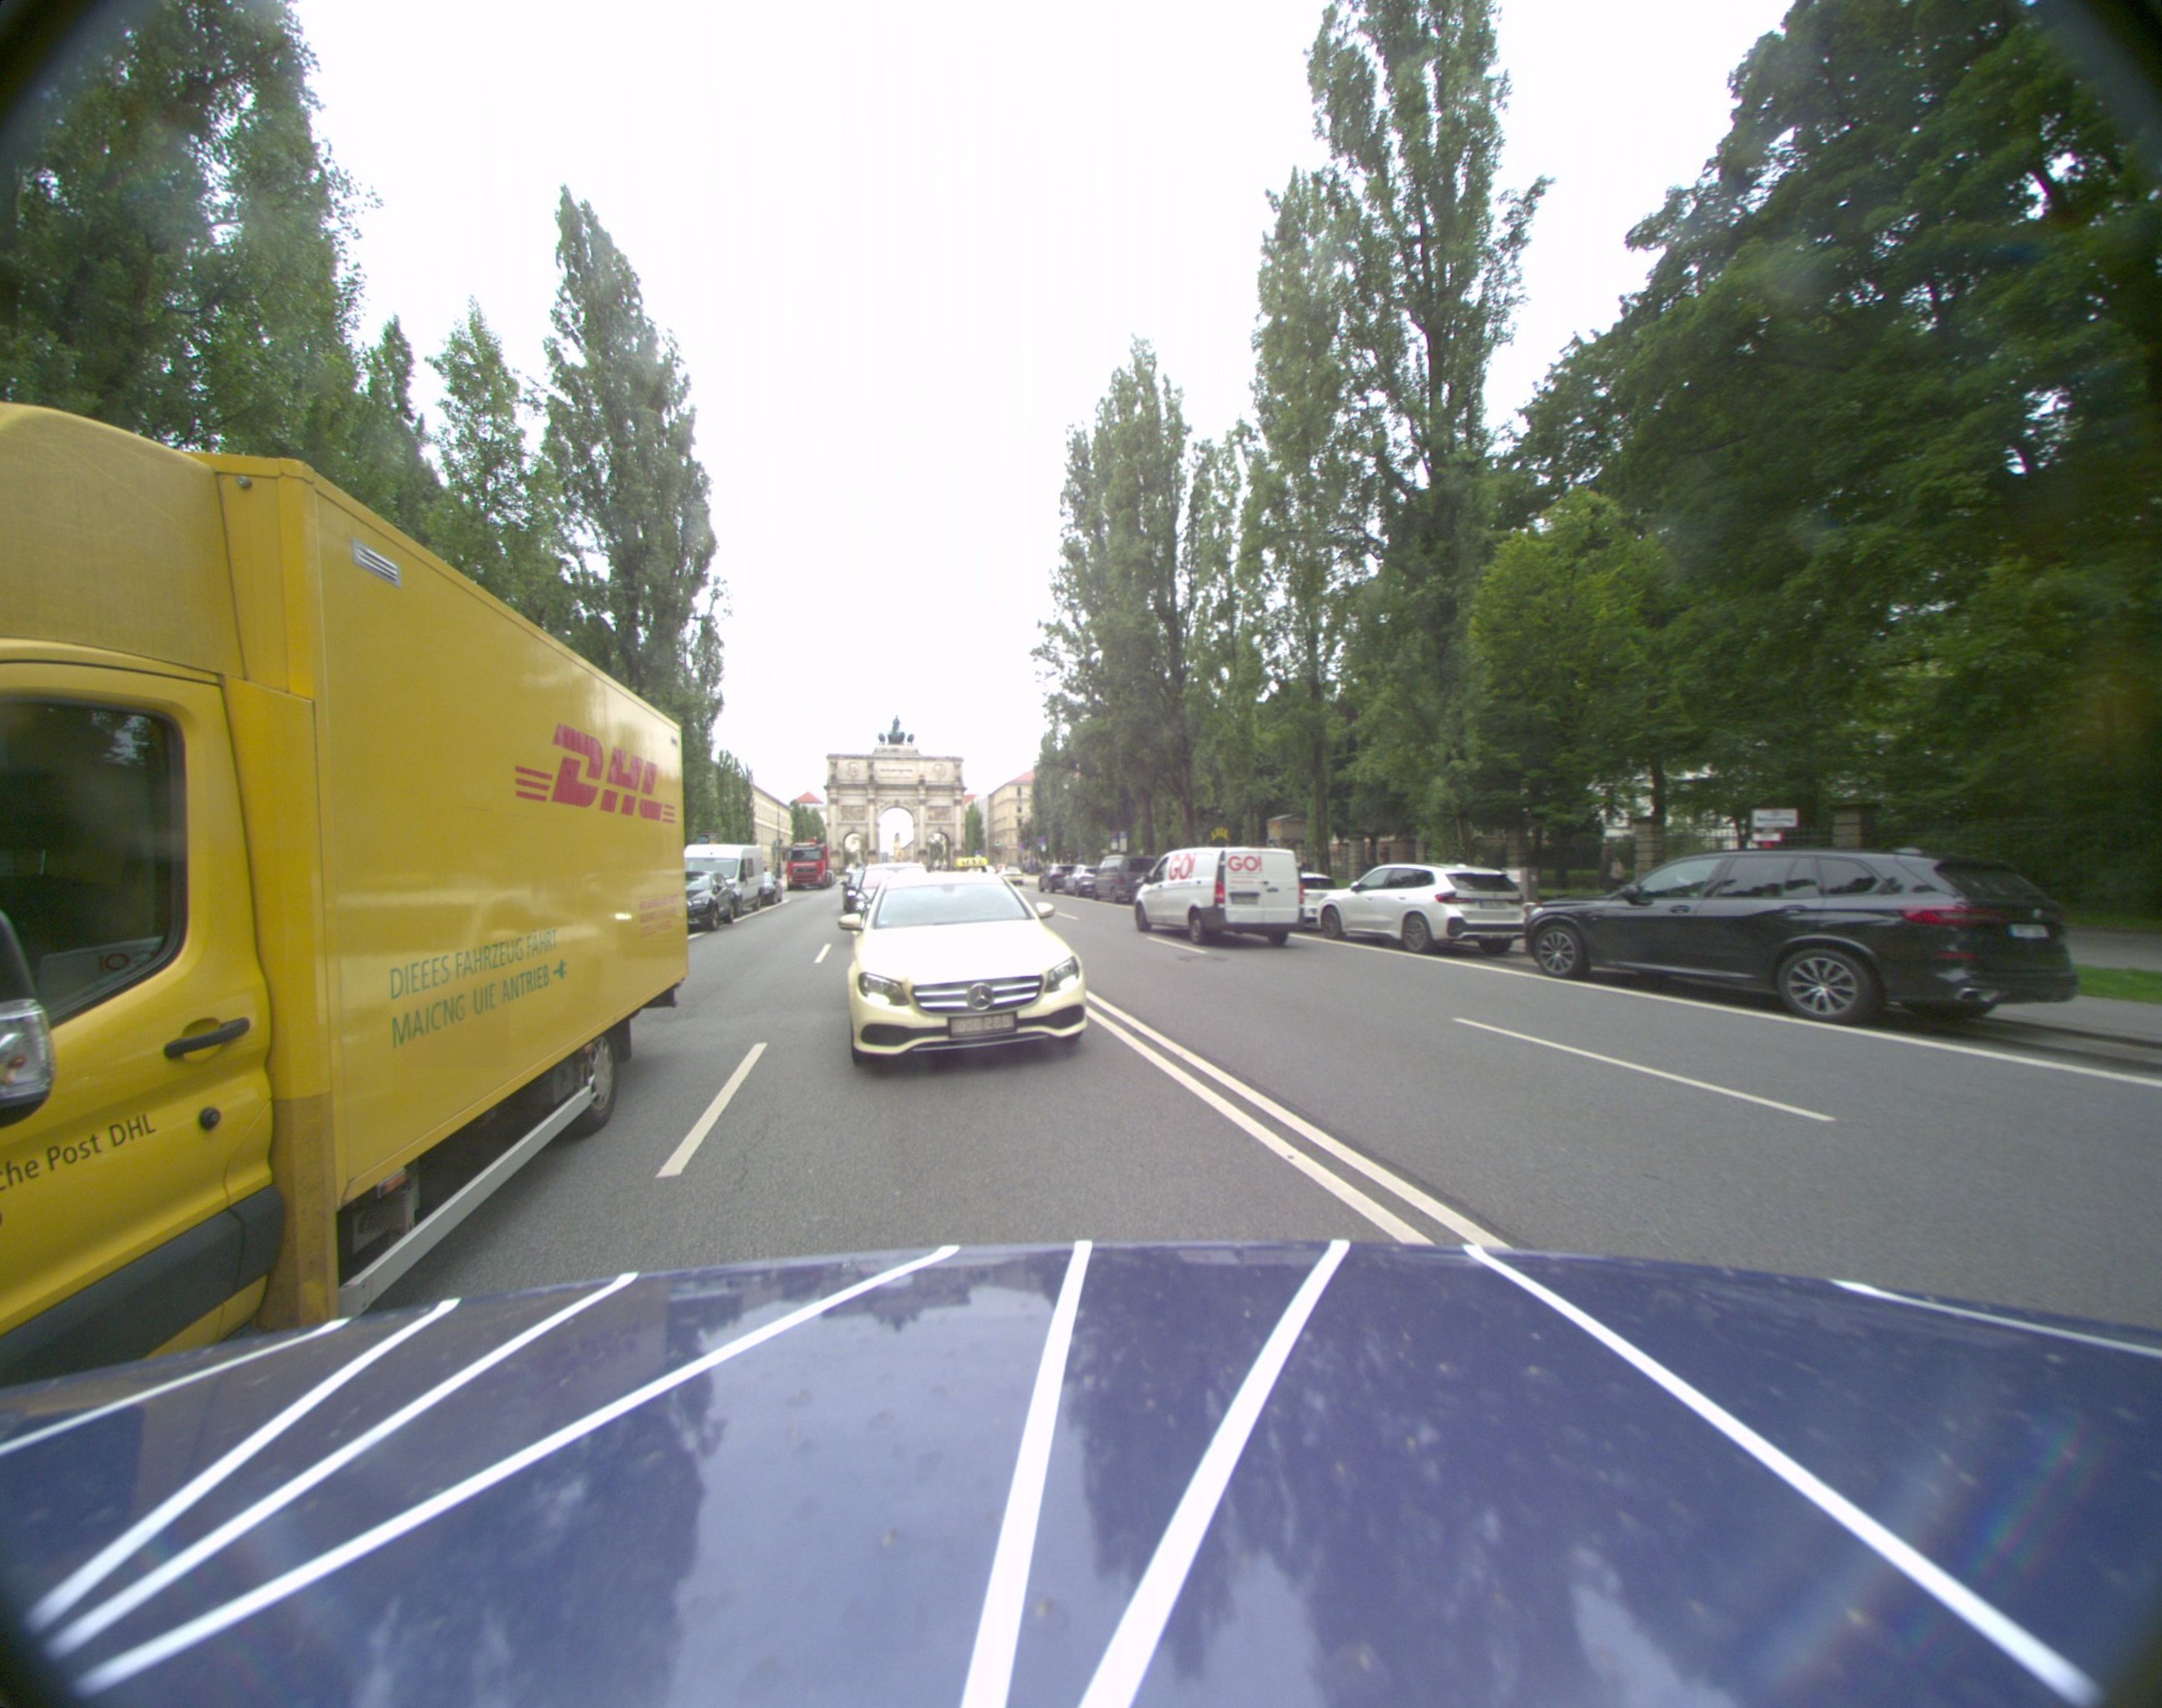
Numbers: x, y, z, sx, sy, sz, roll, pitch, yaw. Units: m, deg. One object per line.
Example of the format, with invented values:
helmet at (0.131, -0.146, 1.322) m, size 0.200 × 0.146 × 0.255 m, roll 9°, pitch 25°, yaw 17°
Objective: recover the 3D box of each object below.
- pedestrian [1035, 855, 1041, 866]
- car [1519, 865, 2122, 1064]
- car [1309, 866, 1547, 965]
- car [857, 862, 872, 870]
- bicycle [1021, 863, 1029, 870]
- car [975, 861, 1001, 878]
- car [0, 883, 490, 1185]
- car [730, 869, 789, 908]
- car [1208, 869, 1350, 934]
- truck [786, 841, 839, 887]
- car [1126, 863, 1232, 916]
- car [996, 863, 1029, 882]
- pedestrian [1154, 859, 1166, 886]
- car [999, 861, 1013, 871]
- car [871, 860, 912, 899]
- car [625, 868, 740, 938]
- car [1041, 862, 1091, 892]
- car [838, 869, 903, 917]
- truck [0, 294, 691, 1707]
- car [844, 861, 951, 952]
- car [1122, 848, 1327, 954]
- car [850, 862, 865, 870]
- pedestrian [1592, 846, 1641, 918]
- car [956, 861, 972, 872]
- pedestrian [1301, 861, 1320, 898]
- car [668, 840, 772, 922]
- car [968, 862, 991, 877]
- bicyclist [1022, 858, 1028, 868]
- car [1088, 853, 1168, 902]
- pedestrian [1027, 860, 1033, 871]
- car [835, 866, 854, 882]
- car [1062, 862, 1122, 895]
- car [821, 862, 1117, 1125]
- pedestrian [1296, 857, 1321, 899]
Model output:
pedestrian at (-8.079, 1.232, 141.810) m, size 0.754 × 2.002 × 0.796 m, roll -1°, pitch 0°, yaw 41°
car at (7.800, 0.970, 8.835) m, size 1.887 × 1.648 × 4.712 m, roll 1°, pitch -1°, yaw -16°
car at (6.399, 1.046, 14.674) m, size 1.792 × 1.579 × 4.456 m, roll 1°, pitch -1°, yaw -14°
car at (-49.205, 2.796, 172.738) m, size 1.787 × 1.739 × 4.321 m, roll -1°, pitch 0°, yaw 2°
bicycle at (-9.081, 2.017, 122.833) m, size 0.708 × 0.933 × 1.737 m, roll -2°, pitch 0°, yaw 16°
car at (-9.277, 1.494, 75.523) m, size 1.945 × 1.615 × 4.958 m, roll 0°, pitch 0°, yaw -14°
car at (-7.022, 1.143, 6.289) m, size 1.787 × 1.572 × 4.141 m, roll -3°, pitch 1°, yaw -15°
car at (-14.213, 1.478, 33.759) m, size 1.761 × 1.441 × 3.995 m, roll -3°, pitch 0°, yaw -15°
car at (4.949, 1.138, 19.657) m, size 1.683 × 1.414 × 4.232 m, roll 1°, pitch 0°, yaw -15°
truck at (-19.703, 0.700, 56.311) m, size 2.724 × 3.091 × 10.413 m, roll -1°, pitch 0°, yaw -14°
car at (3.199, 1.126, 26.039) m, size 1.822 × 1.599 × 5.046 m, roll 1°, pitch -1°, yaw -15°
car at (-5.576, 1.483, 61.536) m, size 1.938 × 1.488 × 4.785 m, roll 0°, pitch -1°, yaw -13°
pedestrian at (5.203, 1.240, 50.133) m, size 0.551 × 1.737 × 0.531 m, roll -2°, pitch 1°, yaw -15°
car at (-14.043, 2.180, 141.579) m, size 2.006 × 1.844 × 4.984 m, roll 0°, pitch 0°, yaw -13°
car at (-9.755, 1.276, 39.183) m, size 1.892 × 1.846 × 4.307 m, roll -1°, pitch 0°, yaw -14°
car at (-10.760, 1.240, 20.830) m, size 1.828 × 1.581 × 4.217 m, roll -2°, pitch 0°, yaw -15°
car at (-0.929, 1.282, 43.049) m, size 1.789 × 1.586 × 4.608 m, roll 1°, pitch -1°, yaw -15°
car at (-7.222, 1.269, 26.106) m, size 1.925 × 1.320 × 4.405 m, roll -3°, pitch 1°, yaw -16°
truck at (-3.625, 0.402, 2.830) m, size 2.336 × 2.881 × 7.323 m, roll -1°, pitch 0°, yaw -15°
car at (-4.113, 1.039, 16.984) m, size 1.955 × 1.615 × 4.406 m, roll -3°, pitch 1°, yaw -14°
car at (2.774, 0.863, 16.452) m, size 2.191 × 1.880 × 5.689 m, roll 1°, pitch 0°, yaw -14°
car at (-49.320, 2.726, 167.821) m, size 1.787 × 1.739 × 4.321 m, roll -1°, pitch 0°, yaw 2°
pedestrian at (13.783, 0.707, 19.561) m, size 0.642 × 1.804 × 0.774 m, roll -1°, pitch 0°, yaw -14°
car at (-17.451, 1.817, 113.511) m, size 1.789 × 1.646 × 4.113 m, roll 0°, pitch 0°, yaw -1°
pedestrian at (11.094, 1.226, 36.777) m, size 0.551 × 1.737 × 0.672 m, roll -2°, pitch 1°, yaw -15°
car at (-12.553, 0.862, 26.889) m, size 2.082 × 2.464 × 6.276 m, roll -2°, pitch 0°, yaw -15°
car at (-11.069, 1.625, 82.433) m, size 1.825 × 1.550 × 4.852 m, roll 1°, pitch 0°, yaw -15°
bicyclist at (-9.048, 1.467, 122.932) m, size 0.694 × 1.489 × 0.862 m, roll -1°, pitch 0°, yaw 15°
car at (1.900, 0.965, 32.478) m, size 2.001 × 1.945 × 4.931 m, roll 1°, pitch -1°, yaw -15°
pedestrian at (-7.691, 1.712, 114.325) m, size 0.846 × 1.668 × 0.967 m, roll -1°, pitch 0°, yaw 3°
car at (-26.475, 2.207, 85.209) m, size 1.810 × 1.619 × 3.995 m, roll -1°, pitch 0°, yaw -15°
car at (0.480, 1.200, 38.782) m, size 1.898 × 1.575 × 4.648 m, roll 0°, pitch 0°, yaw -15°
car at (-1.344, 0.925, 7.389) m, size 1.922 × 1.566 × 4.682 m, roll -3°, pitch 1°, yaw -16°
pedestrian at (9.312, 0.970, 31.109) m, size 0.585 × 1.710 × 0.786 m, roll -2°, pitch 0°, yaw -16°
